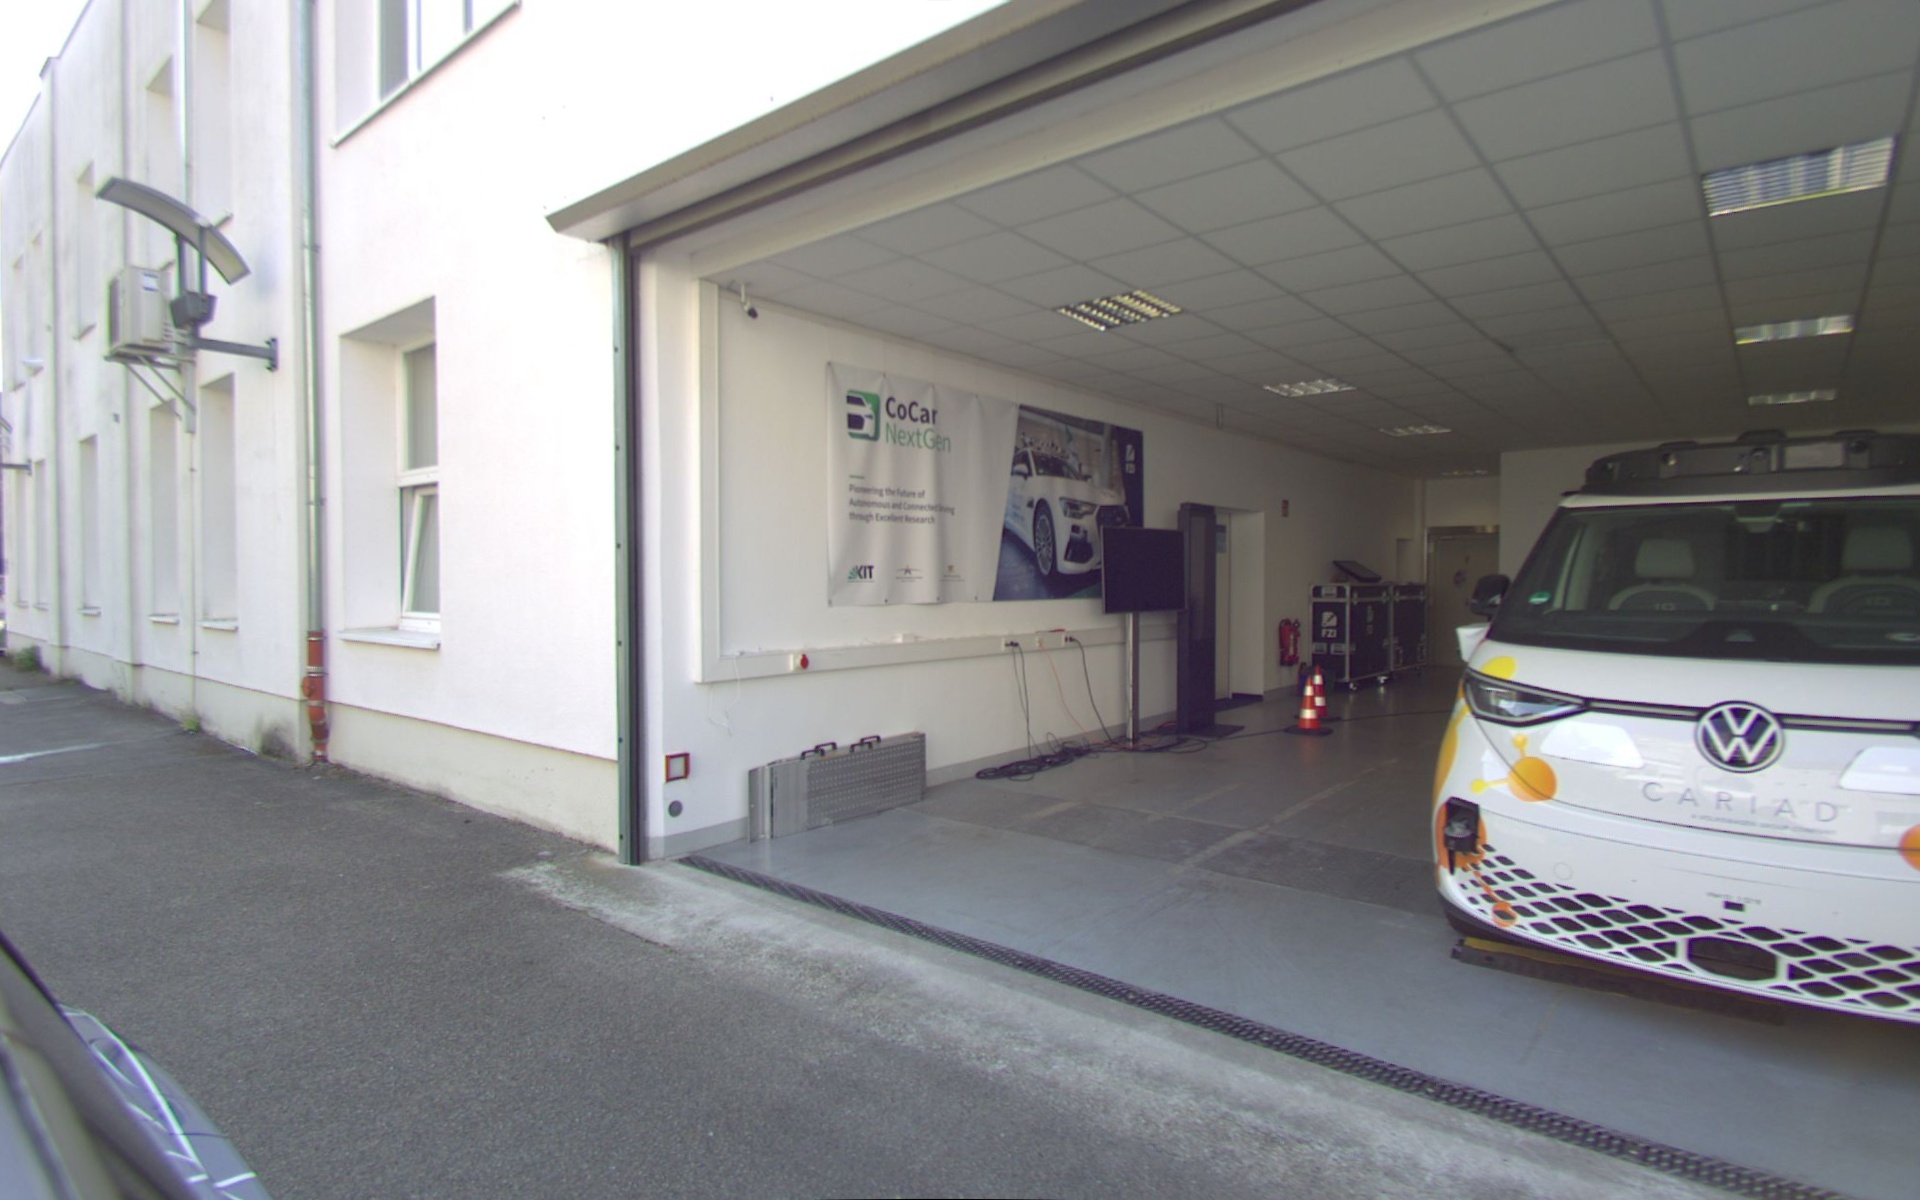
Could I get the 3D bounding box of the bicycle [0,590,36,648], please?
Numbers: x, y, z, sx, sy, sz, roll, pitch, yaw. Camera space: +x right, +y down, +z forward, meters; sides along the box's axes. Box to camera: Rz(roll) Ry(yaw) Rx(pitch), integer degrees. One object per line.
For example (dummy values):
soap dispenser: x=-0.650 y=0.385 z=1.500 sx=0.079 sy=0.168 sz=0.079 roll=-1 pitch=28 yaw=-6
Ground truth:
bicycle: x=-21.160 y=0.394 z=22.596 sx=2.006 sy=1.222 sz=0.471 roll=1 pitch=2 yaw=39

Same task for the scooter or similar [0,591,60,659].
scooter or similar: x=-18.116 y=0.467 z=19.588 sx=1.484 sy=1.271 sz=0.383 roll=1 pitch=2 yaw=21

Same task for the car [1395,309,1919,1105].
car: x=3.817 y=0.209 z=4.674 sx=2.054 sy=2.108 sz=4.699 roll=1 pitch=3 yaw=40
